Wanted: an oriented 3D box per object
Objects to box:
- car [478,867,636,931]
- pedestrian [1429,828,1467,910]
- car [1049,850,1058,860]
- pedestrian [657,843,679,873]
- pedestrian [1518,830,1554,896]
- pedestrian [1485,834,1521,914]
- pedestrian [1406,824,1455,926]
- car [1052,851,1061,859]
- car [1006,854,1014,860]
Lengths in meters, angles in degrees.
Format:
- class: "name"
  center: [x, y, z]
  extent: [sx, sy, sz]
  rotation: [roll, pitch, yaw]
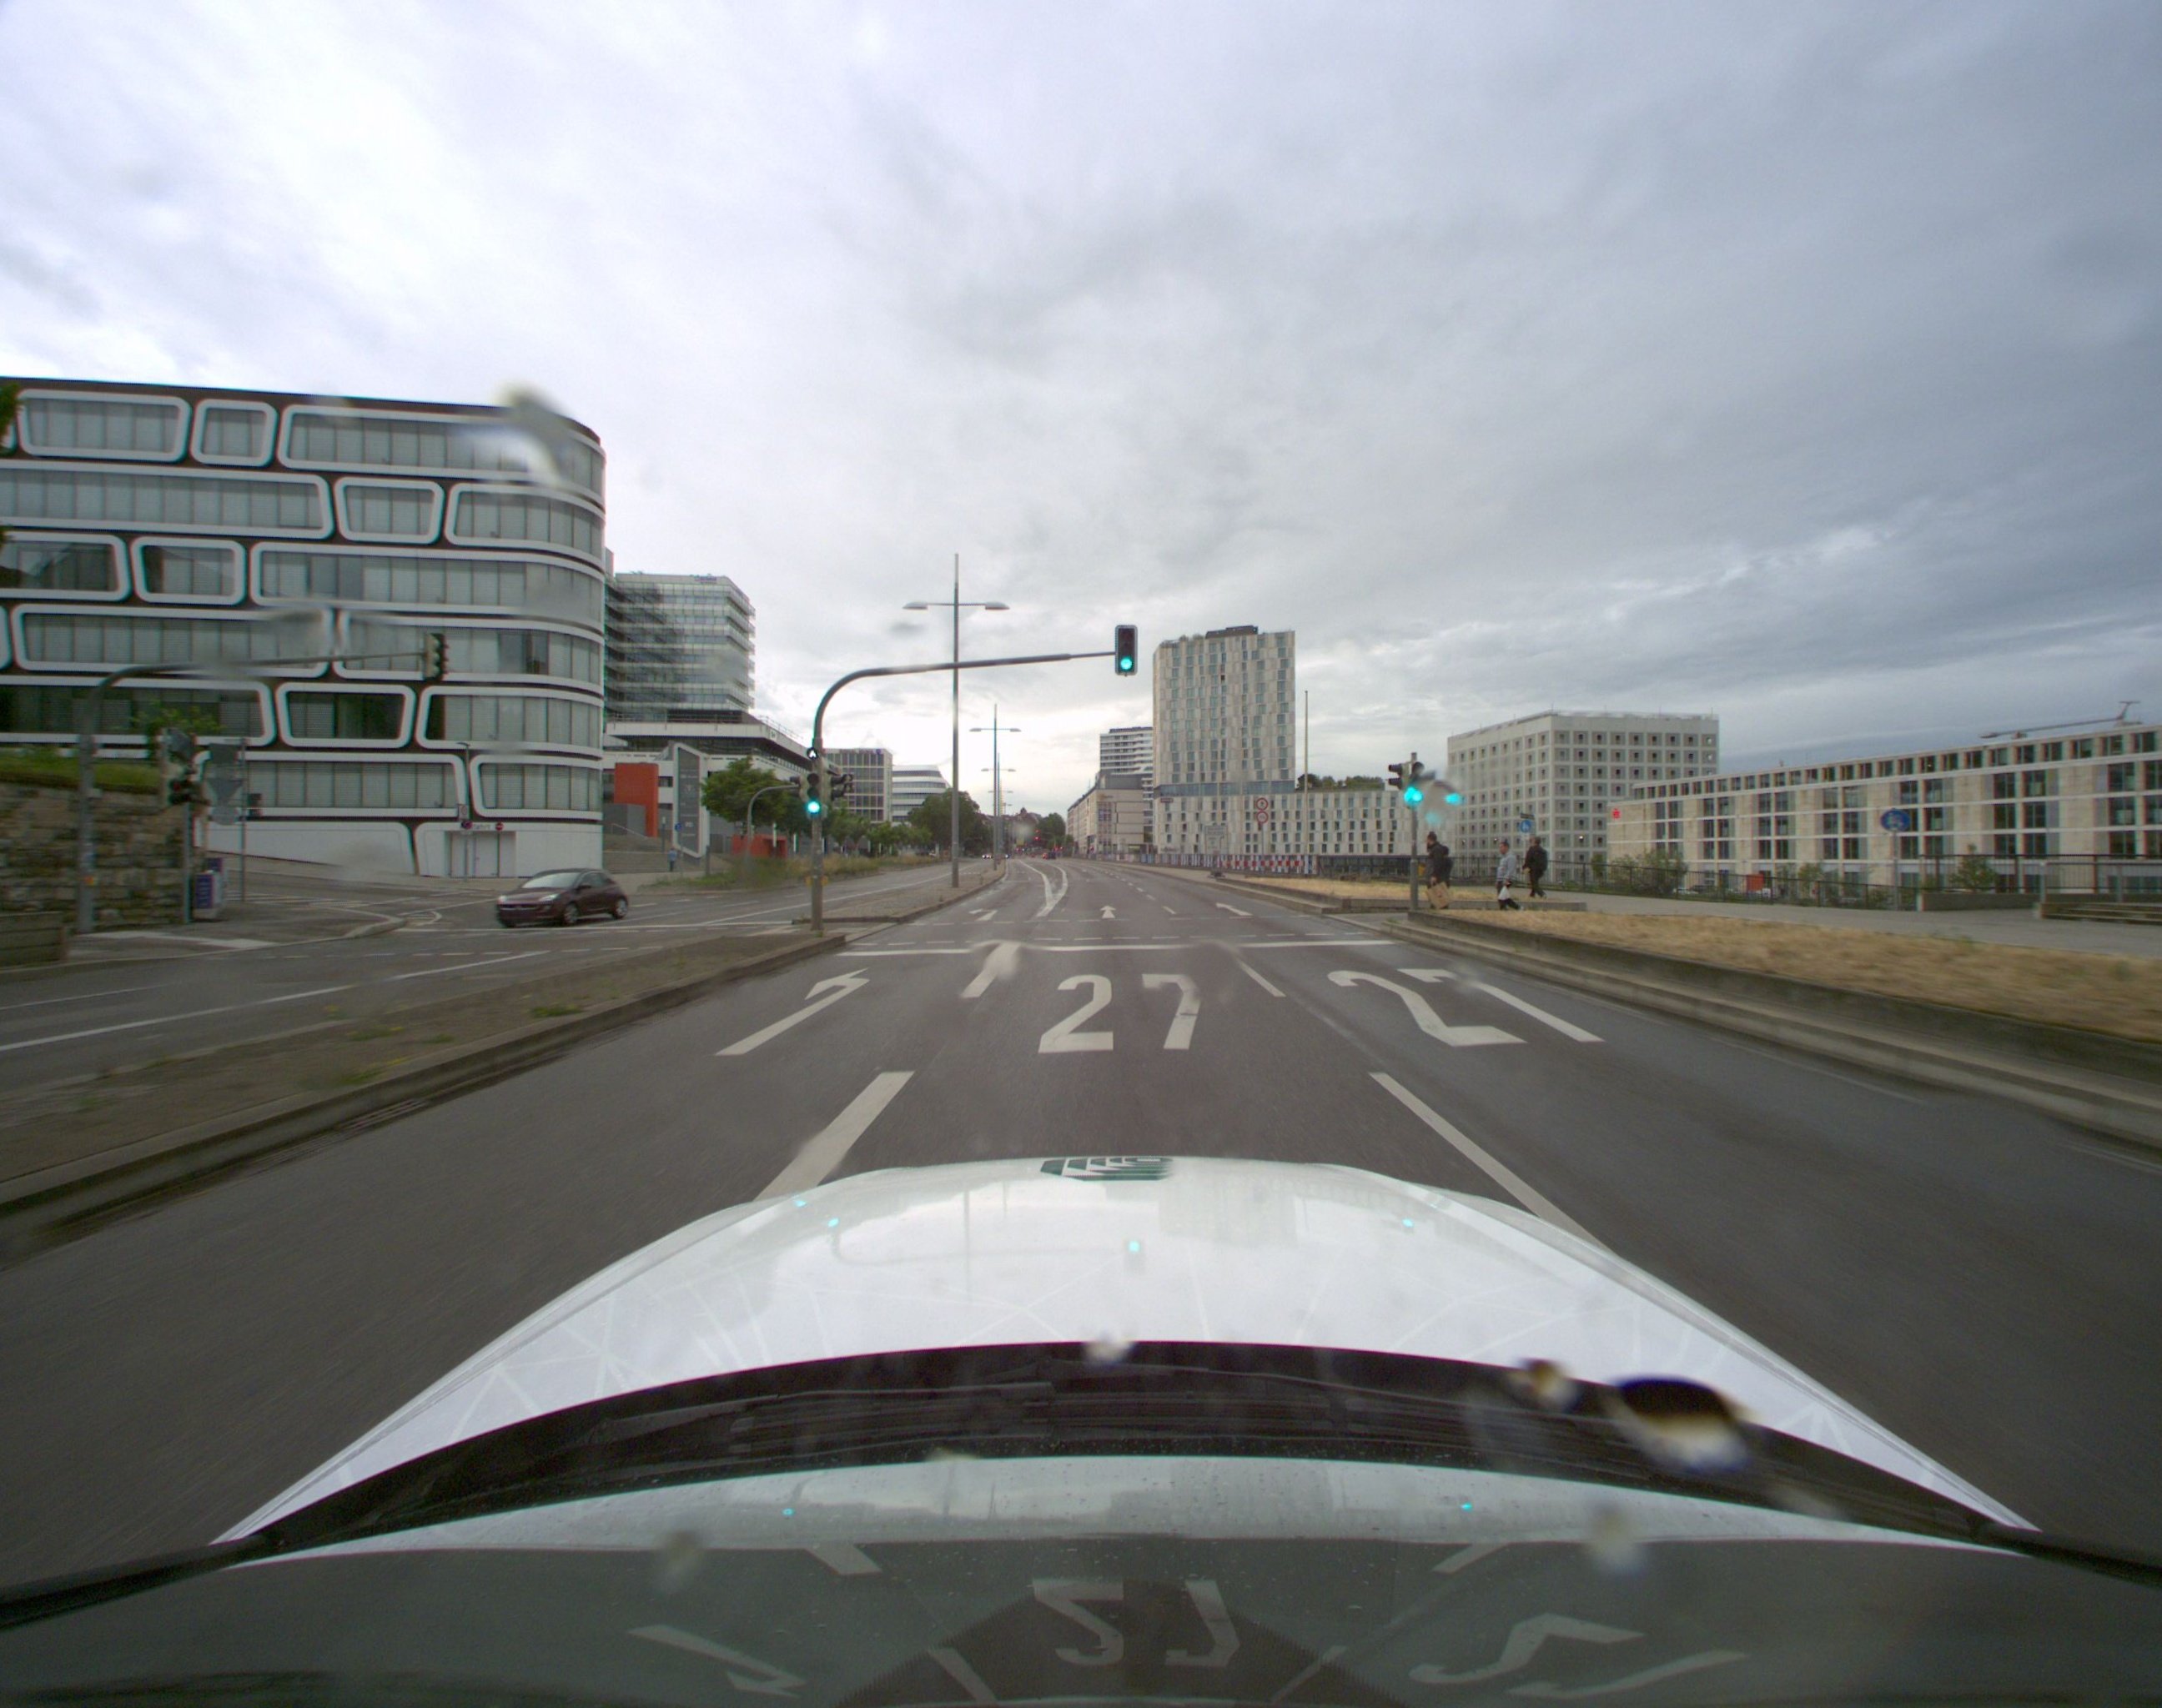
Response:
- class: "car"
  center: [-13.907, 1.144, 21.882]
  extent: [1.742, 1.407, 3.725]
  rotation: [-2, 1, 1]
- class: "pedestrian"
  center: [7.317, 0.282, 16.236]
  extent: [0.544, 1.578, 0.675]
  rotation: [-1, 1, 35]
- class: "car"
  center: [-6.532, 0.177, 193.084]
  extent: [1.987, 2.343, 4.000]
  rotation: [0, 0, 1]
- class: "pedestrian"
  center: [-28.110, 0.247, 55.418]
  extent: [1.026, 2.013, 0.716]
  rotation: [-2, 1, 0]
- class: "pedestrian"
  center: [11.188, 0.206, 20.024]
  extent: [0.662, 1.578, 0.673]
  rotation: [-1, 2, 39]
- class: "pedestrian"
  center: [8.674, 0.393, 16.723]
  extent: [0.544, 1.578, 0.675]
  rotation: [-1, 1, 35]
- class: "pedestrian"
  center: [6.551, 0.371, 15.265]
  extent: [0.787, 1.841, 0.544]
  rotation: [-3, 2, -42]
- class: "car"
  center: [-6.607, 0.227, 222.069]
  extent: [1.984, 1.815, 4.006]
  rotation: [-1, 1, 4]
- class: "car"
  center: [-21.730, 0.820, 249.417]
  extent: [1.987, 1.782, 4.001]
  rotation: [-2, 1, 1]
